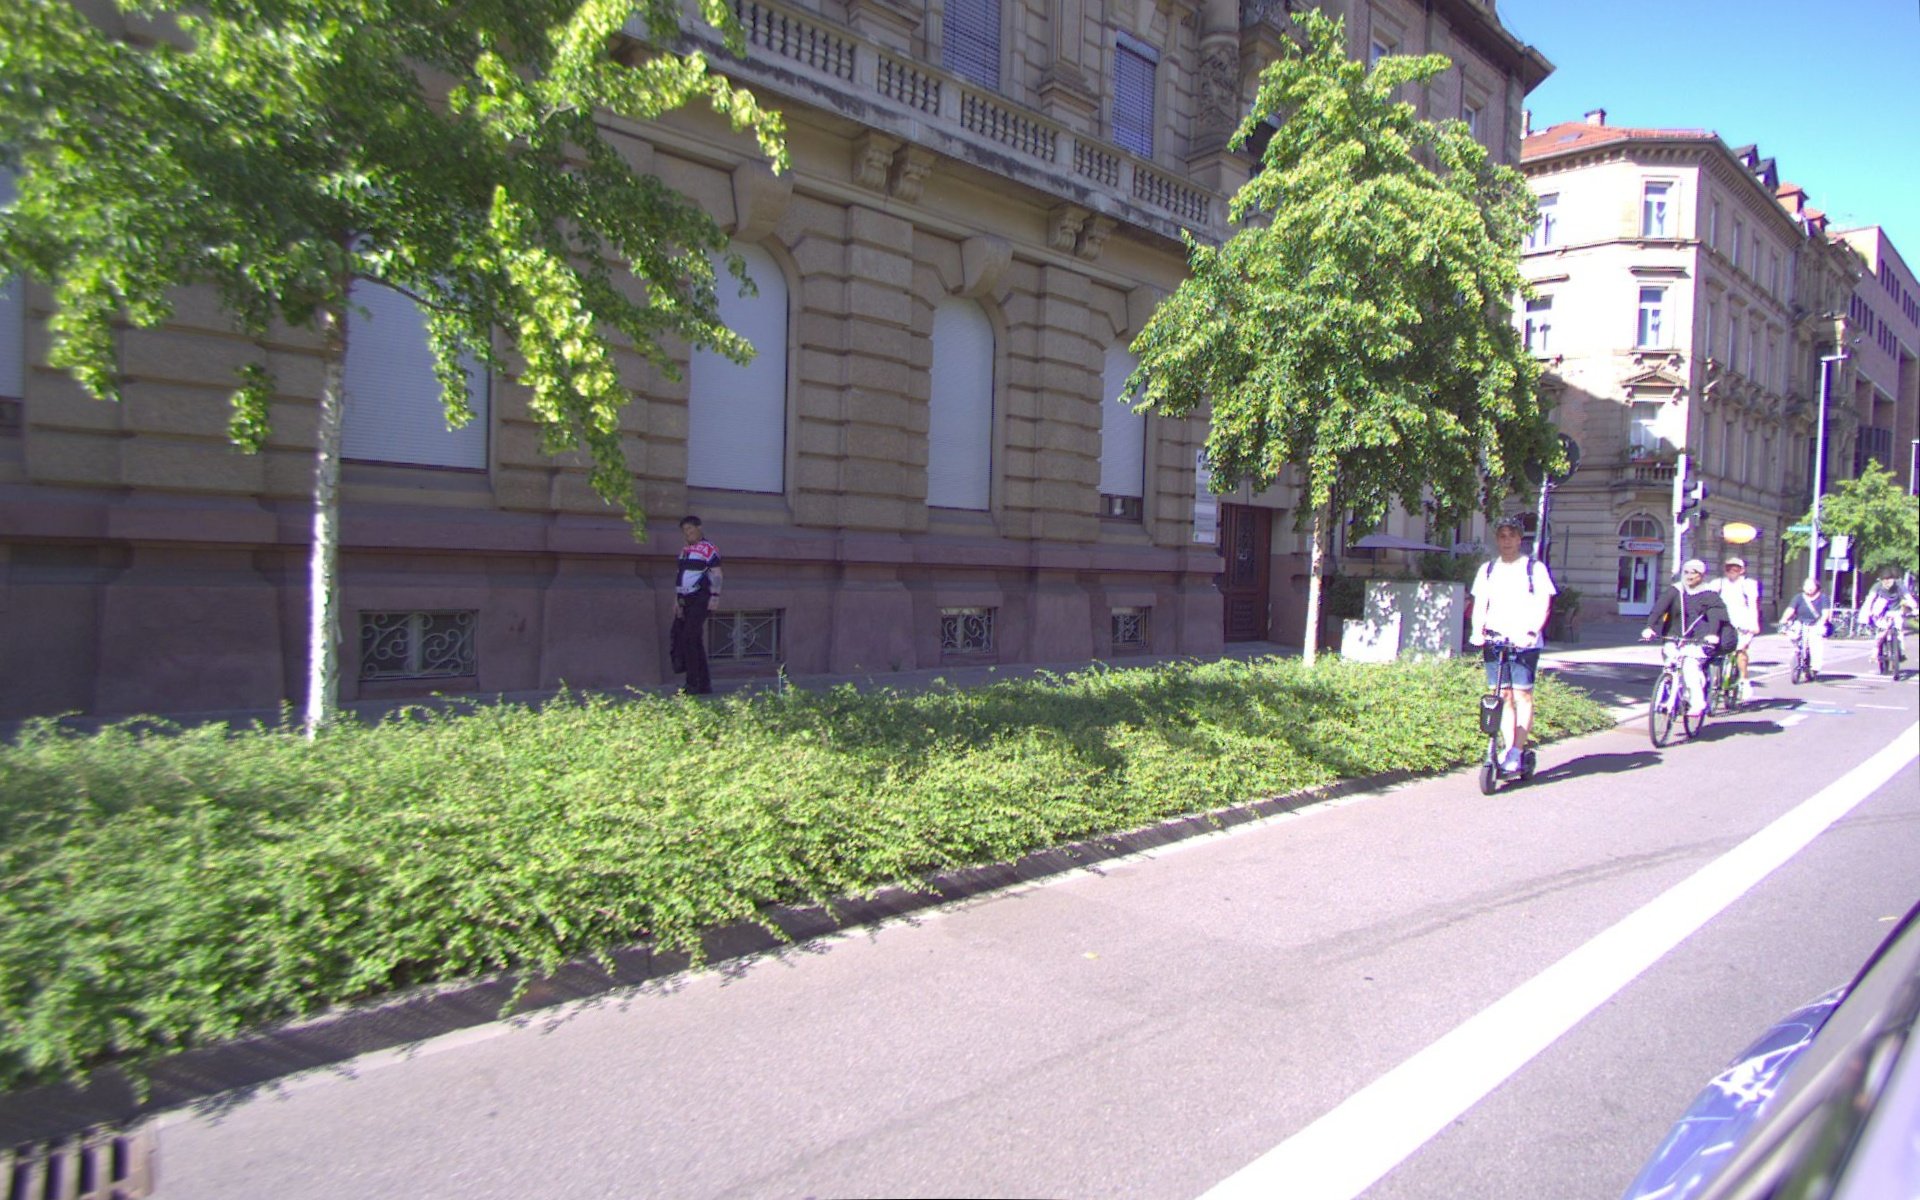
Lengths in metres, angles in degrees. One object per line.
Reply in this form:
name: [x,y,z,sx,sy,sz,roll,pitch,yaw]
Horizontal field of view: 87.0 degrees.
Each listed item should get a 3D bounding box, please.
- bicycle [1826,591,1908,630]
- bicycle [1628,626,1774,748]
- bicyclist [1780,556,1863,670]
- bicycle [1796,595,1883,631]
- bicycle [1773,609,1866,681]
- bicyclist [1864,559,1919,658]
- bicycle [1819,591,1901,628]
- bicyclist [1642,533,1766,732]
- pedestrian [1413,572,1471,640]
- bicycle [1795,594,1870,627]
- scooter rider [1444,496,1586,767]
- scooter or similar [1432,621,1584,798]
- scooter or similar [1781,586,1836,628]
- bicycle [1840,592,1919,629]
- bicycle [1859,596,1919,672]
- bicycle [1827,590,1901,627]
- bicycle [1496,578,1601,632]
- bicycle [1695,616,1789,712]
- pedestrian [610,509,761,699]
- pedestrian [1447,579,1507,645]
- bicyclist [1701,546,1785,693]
bicycle: [29.127,0.324,32.524,0.598,1.061,1.873,-1,6,-44]
bicycle: [7.334,0.807,9.981,1.918,1.019,0.725,0,1,-40]
bicyclist: [13.714,0.189,16.111,0.971,1.748,0.853,0,1,-40]
bicycle: [27.243,0.382,31.386,0.580,0.922,1.911,-1,5,-31]
bicycle: [13.703,0.683,16.113,1.918,1.019,0.829,0,1,-41]
bicyclist: [15.948,0.125,17.206,0.879,1.625,0.725,0,1,-40]
bicycle: [30.025,0.310,33.765,1.013,1.042,1.901,-1,6,-43]
bicyclist: [7.339,0.288,9.975,1.071,1.840,0.725,0,1,-39]
pedestrian: [9.624,0.107,20.208,0.872,1.298,0.727,-1,3,-41]
bicycle: [27.550,0.323,31.987,0.488,0.936,1.717,-1,3,-40]
scooter rider: [4.177,0.211,7.613,0.882,1.890,0.662,0,1,-42]
scooter or similar: [4.136,0.770,7.617,1.130,1.172,0.646,0,1,-41]
scooter or similar: [25.800,0.207,30.789,0.479,1.212,1.197,0,3,-44]
bicycle: [32.085,0.350,35.206,0.833,1.054,2.063,-1,6,-41]
bicycle: [15.946,0.546,17.208,1.918,1.209,0.725,0,1,-41]
bicycle: [30.844,0.272,34.541,1.115,1.074,1.677,-1,7,-42]
bicycle: [15.562,0.112,26.830,0.801,1.247,2.221,4,1,-33]
bicycle: [9.494,0.729,12.262,0.723,1.019,1.922,1,1,43]
pedestrian: [-2.674,0.002,9.840,1.093,1.712,0.972,0,4,-39]
pedestrian: [9.964,0.217,19.502,0.866,1.197,0.719,-1,3,-41]
bicyclist: [9.423,0.212,12.171,0.698,1.677,0.962,1,1,43]
